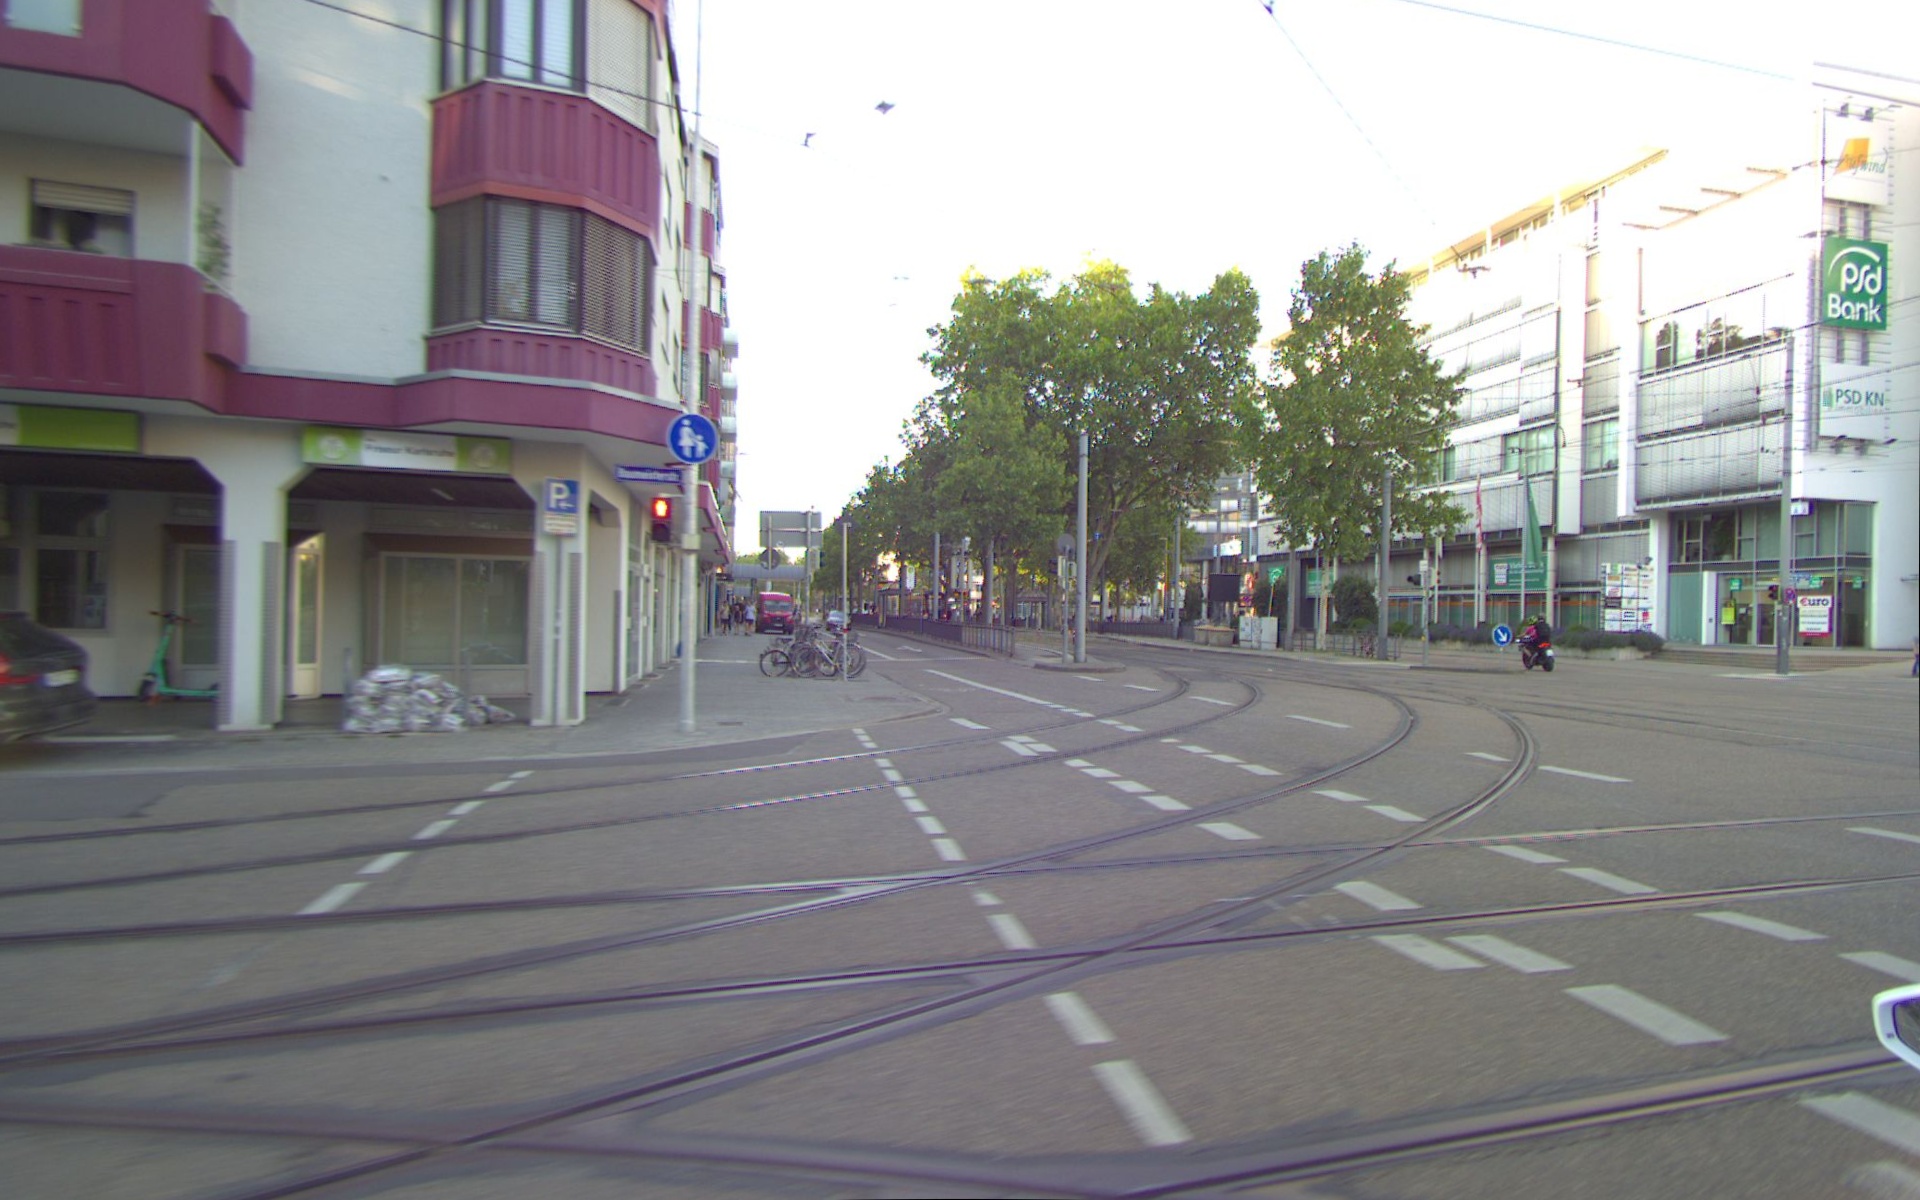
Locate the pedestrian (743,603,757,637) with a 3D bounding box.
[{"bbox_3d":[-11.147,1.058,53.331,0.644,1.799,0.546,1,0,-15],"label":"pedestrian"}]

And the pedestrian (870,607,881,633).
[{"bbox_3d":[-6.275,1.496,74.562,0.766,1.951,0.731,1,0,-12],"label":"pedestrian"}]

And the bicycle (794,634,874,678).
[{"bbox_3d":[-2.925,1.293,23.410,1.807,0.970,0.595,1,0,-8],"label":"bicycle"}]

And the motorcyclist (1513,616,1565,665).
[{"bbox_3d":[18.107,1.249,31.425,0.816,1.493,1.205,1,0,-11],"label":"motorcyclist"}]

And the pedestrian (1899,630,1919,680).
[{"bbox_3d":[33.286,1.914,34.994,0.647,1.734,0.548,1,0,-2],"label":"pedestrian"}]

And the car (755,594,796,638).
[{"bbox_3d":[-11.393,0.978,61.809,2.059,2.585,5.433,1,-1,-14],"label":"car"}]

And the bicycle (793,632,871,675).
[{"bbox_3d":[-3.063,1.283,24.078,1.807,0.970,0.498,1,0,-8],"label":"bicycle"}]

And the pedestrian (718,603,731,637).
[{"bbox_3d":[-12.520,1.075,53.367,0.644,1.799,0.546,1,0,-15],"label":"pedestrian"}]

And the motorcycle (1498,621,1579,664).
[{"bbox_3d":[18.102,1.321,31.505,0.816,1.256,2.487,1,0,-10],"label":"motorcycle"}]

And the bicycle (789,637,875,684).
[{"bbox_3d":[-2.771,1.309,21.815,1.807,0.970,0.673,1,0,-8],"label":"bicycle"}]

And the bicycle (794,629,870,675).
[{"bbox_3d":[-3.127,1.266,24.642,1.807,1.075,0.498,1,0,-8],"label":"bicycle"}]

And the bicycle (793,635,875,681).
[{"bbox_3d":[-2.830,1.301,22.614,1.807,0.970,0.673,1,0,-8],"label":"bicycle"}]

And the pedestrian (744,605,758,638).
[{"bbox_3d":[-11.354,1.154,54.567,0.644,1.799,0.546,1,0,-15],"label":"pedestrian"}]

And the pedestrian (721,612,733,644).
[{"bbox_3d":[-13.330,1.591,57.406,0.540,1.799,0.651,1,0,-23],"label":"pedestrian"}]

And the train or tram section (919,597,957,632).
[{"bbox_3d":[-2.324,1.456,101.703,2.997,3.212,13.482,1,-1,-4],"label":"train or tram section"}]

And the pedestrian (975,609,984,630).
[{"bbox_3d":[1.748,1.755,91.067,0.725,1.924,0.639,1,0,-9],"label":"pedestrian"}]

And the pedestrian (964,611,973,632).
[{"bbox_3d":[0.753,1.969,93.722,0.725,1.924,0.639,1,0,-9],"label":"pedestrian"}]

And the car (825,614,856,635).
[{"bbox_3d":[-8.865,1.807,74.178,1.756,1.476,3.988,1,-1,-14],"label":"car"}]

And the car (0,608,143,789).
[{"bbox_3d":[-10.400,0.793,8.522,5.007,1.476,1.850,1,0,-19],"label":"car"}]

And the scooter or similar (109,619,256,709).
[{"bbox_3d":[-10.591,0.867,13.728,1.456,1.181,0.548,1,0,-19],"label":"scooter or similar"}]

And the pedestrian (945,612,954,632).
[{"bbox_3d":[-1.057,2.146,98.925,0.725,1.924,0.639,1,0,-9],"label":"pedestrian"}]

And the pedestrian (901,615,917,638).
[{"bbox_3d":[-2.973,1.532,58.773,0.764,1.310,0.733,1,0,8],"label":"pedestrian"}]
